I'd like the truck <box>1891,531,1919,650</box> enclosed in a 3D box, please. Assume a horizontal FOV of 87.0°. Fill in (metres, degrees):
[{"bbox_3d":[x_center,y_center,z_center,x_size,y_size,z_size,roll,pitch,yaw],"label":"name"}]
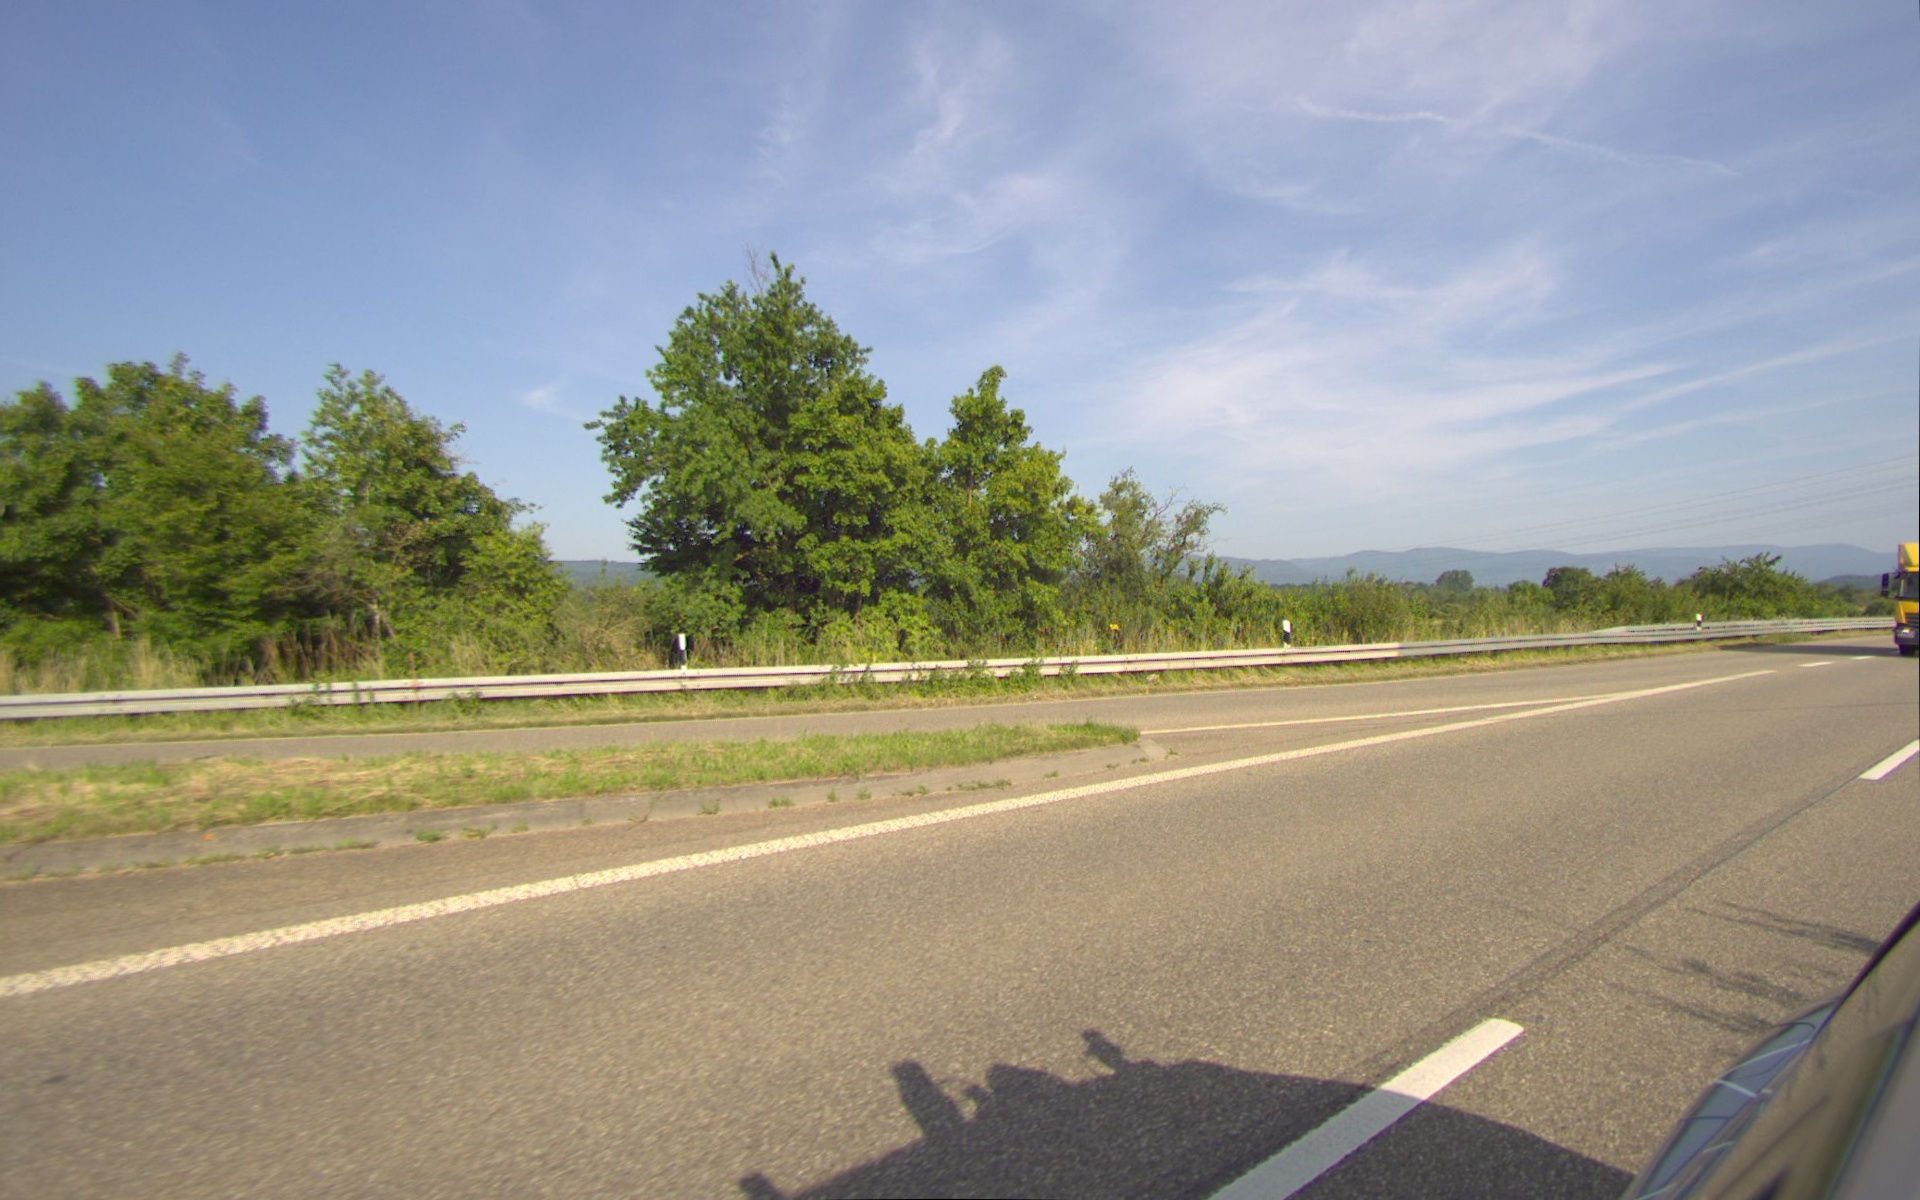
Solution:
[{"bbox_3d":[31.516,-0.265,31.226,10.302,3.359,2.784,0,0,-40],"label":"truck"}]
